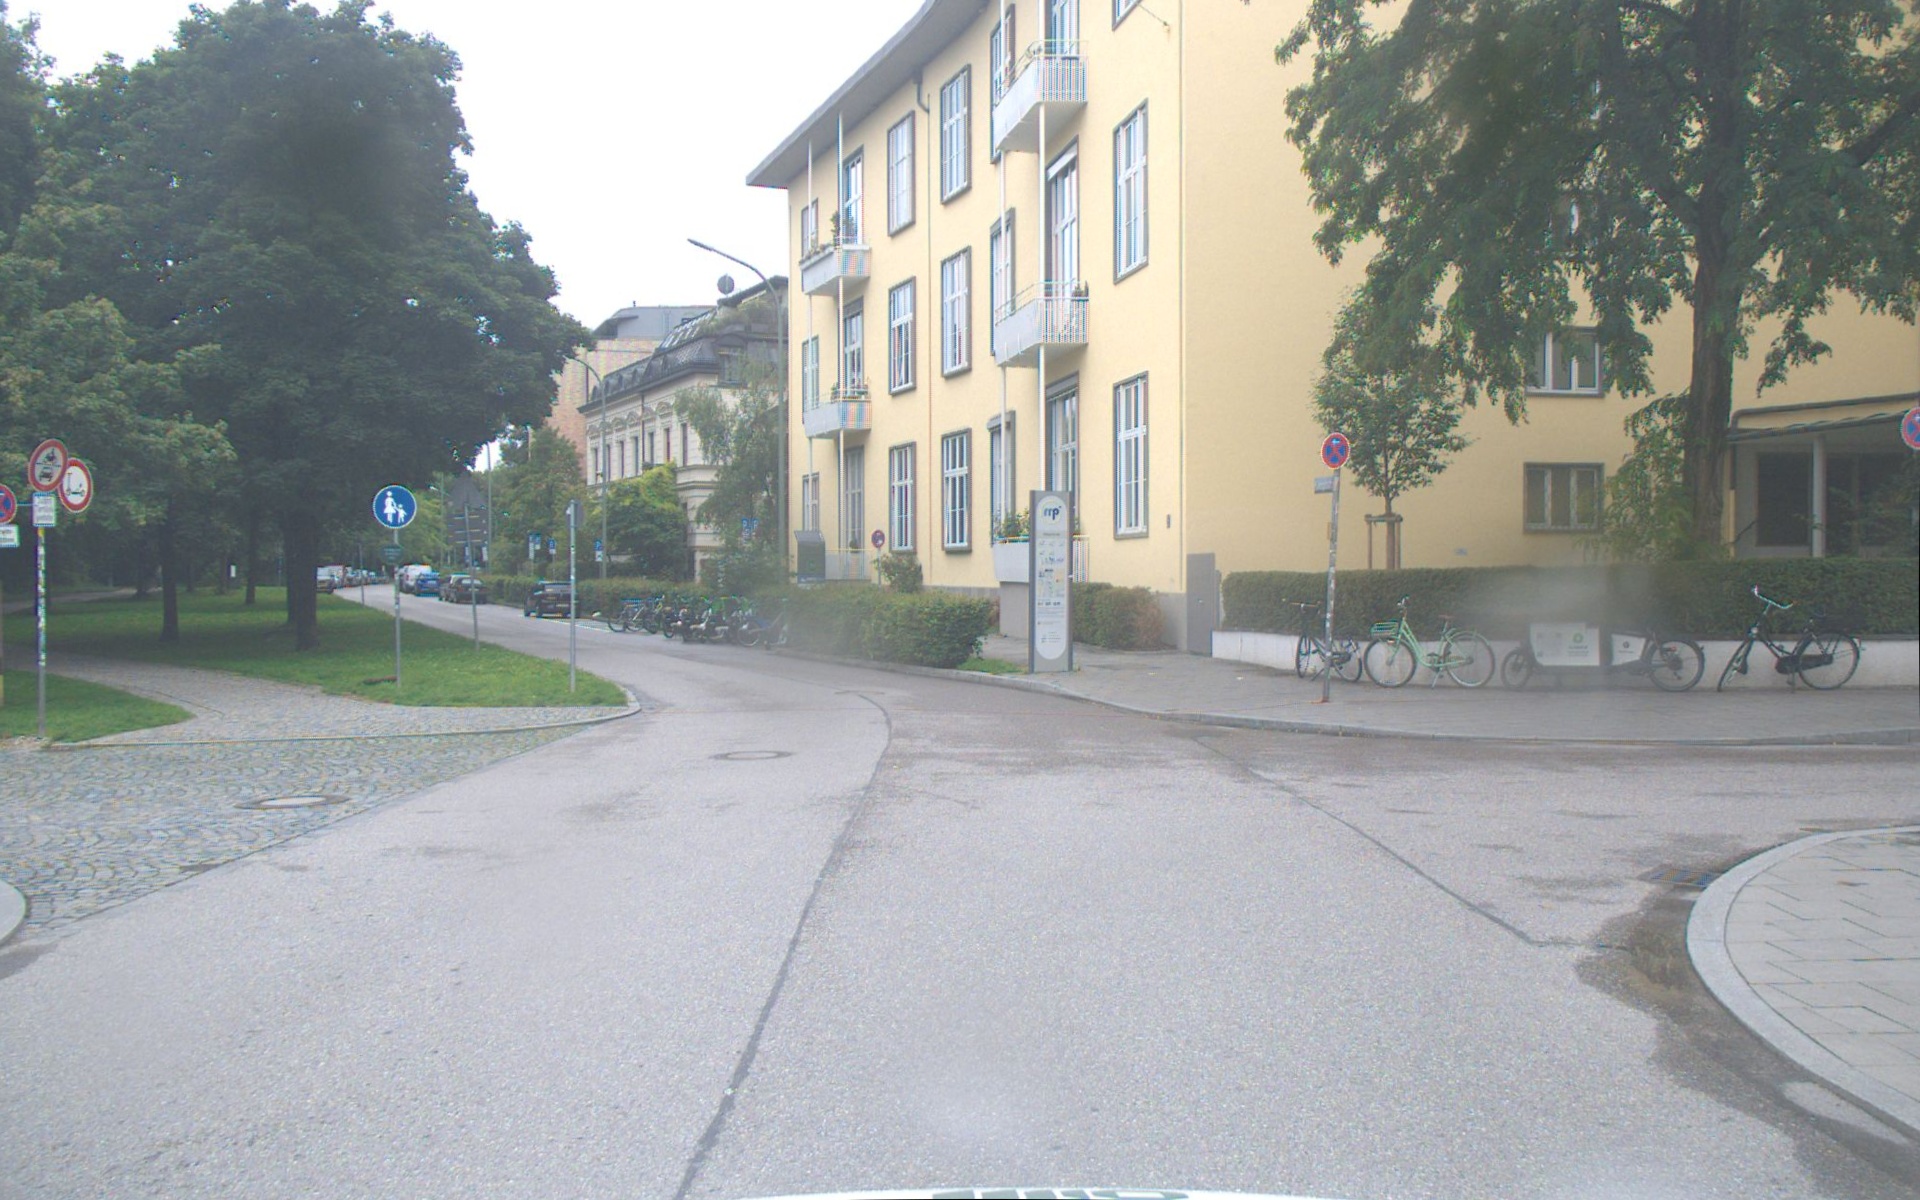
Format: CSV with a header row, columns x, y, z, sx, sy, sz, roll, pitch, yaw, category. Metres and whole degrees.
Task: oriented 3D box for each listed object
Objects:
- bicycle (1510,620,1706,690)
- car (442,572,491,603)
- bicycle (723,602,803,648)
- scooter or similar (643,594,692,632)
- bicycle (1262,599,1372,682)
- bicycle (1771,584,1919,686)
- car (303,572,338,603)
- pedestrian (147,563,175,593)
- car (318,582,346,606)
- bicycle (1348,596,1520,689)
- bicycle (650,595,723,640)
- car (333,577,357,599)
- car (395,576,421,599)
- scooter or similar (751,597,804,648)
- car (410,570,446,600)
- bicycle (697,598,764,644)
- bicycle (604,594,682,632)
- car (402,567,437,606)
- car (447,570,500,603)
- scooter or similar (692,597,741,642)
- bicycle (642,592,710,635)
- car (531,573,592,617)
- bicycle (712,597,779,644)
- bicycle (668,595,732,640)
x,y,z,sx,sy,sz,roll,pitch,yaw,category
7.818,0.653,20.003,2.165,0.792,0.610,0,1,22,bicycle
-28.274,-0.695,94.725,2.148,1.686,4.473,-2,1,-24,car
-4.761,0.595,40.008,1.800,1.023,0.573,-2,1,-26,bicycle
-8.880,0.394,50.260,1.378,1.107,0.596,-2,1,-6,scooter or similar
5.066,0.548,23.647,0.598,1.091,2.209,-2,1,-14,bicycle
10.572,0.409,19.512,1.698,1.170,0.611,-1,0,6,bicycle
-40.797,-0.787,105.476,1.967,1.870,3.972,-2,1,-23,car
-55.621,-1.535,115.133,1.011,1.979,1.327,-1,1,25,pedestrian
-52.037,-0.515,136.976,1.967,1.870,3.972,-2,1,-23,car
6.085,0.523,21.351,0.604,1.136,2.186,-1,1,-39,bicycle
-7.308,0.455,44.339,0.682,1.104,2.337,-1,1,26,bicycle
-55.513,-1.099,149.302,1.965,1.870,3.976,-2,1,-20,car
-42.454,-0.974,127.192,1.622,1.681,4.254,-1,1,-22,car
-4.256,0.517,38.687,0.486,1.128,1.407,-1,1,29,scooter or similar
-34.713,-0.986,107.828,1.851,1.847,3.971,-2,1,-23,car
-5.921,0.528,42.834,0.565,1.104,1.928,-1,1,33,bicycle
-9.960,0.396,51.997,2.305,1.104,0.686,-2,1,-29,bicycle
-38.121,-0.941,116.578,1.851,2.613,4.896,-2,1,-23,car
-26.253,-0.719,89.164,2.148,1.686,4.473,-2,1,-24,car
-6.362,0.505,43.216,0.486,1.107,1.407,-1,1,29,scooter or similar
-7.899,0.358,46.143,0.747,1.104,2.139,-1,1,26,bicycle
-15.915,-0.214,65.889,1.836,1.662,4.257,-2,1,-20,car
-5.465,0.511,42.247,0.565,1.104,1.928,-1,1,33,bicycle
-6.842,0.454,43.584,0.624,1.104,1.984,-1,1,26,bicycle
